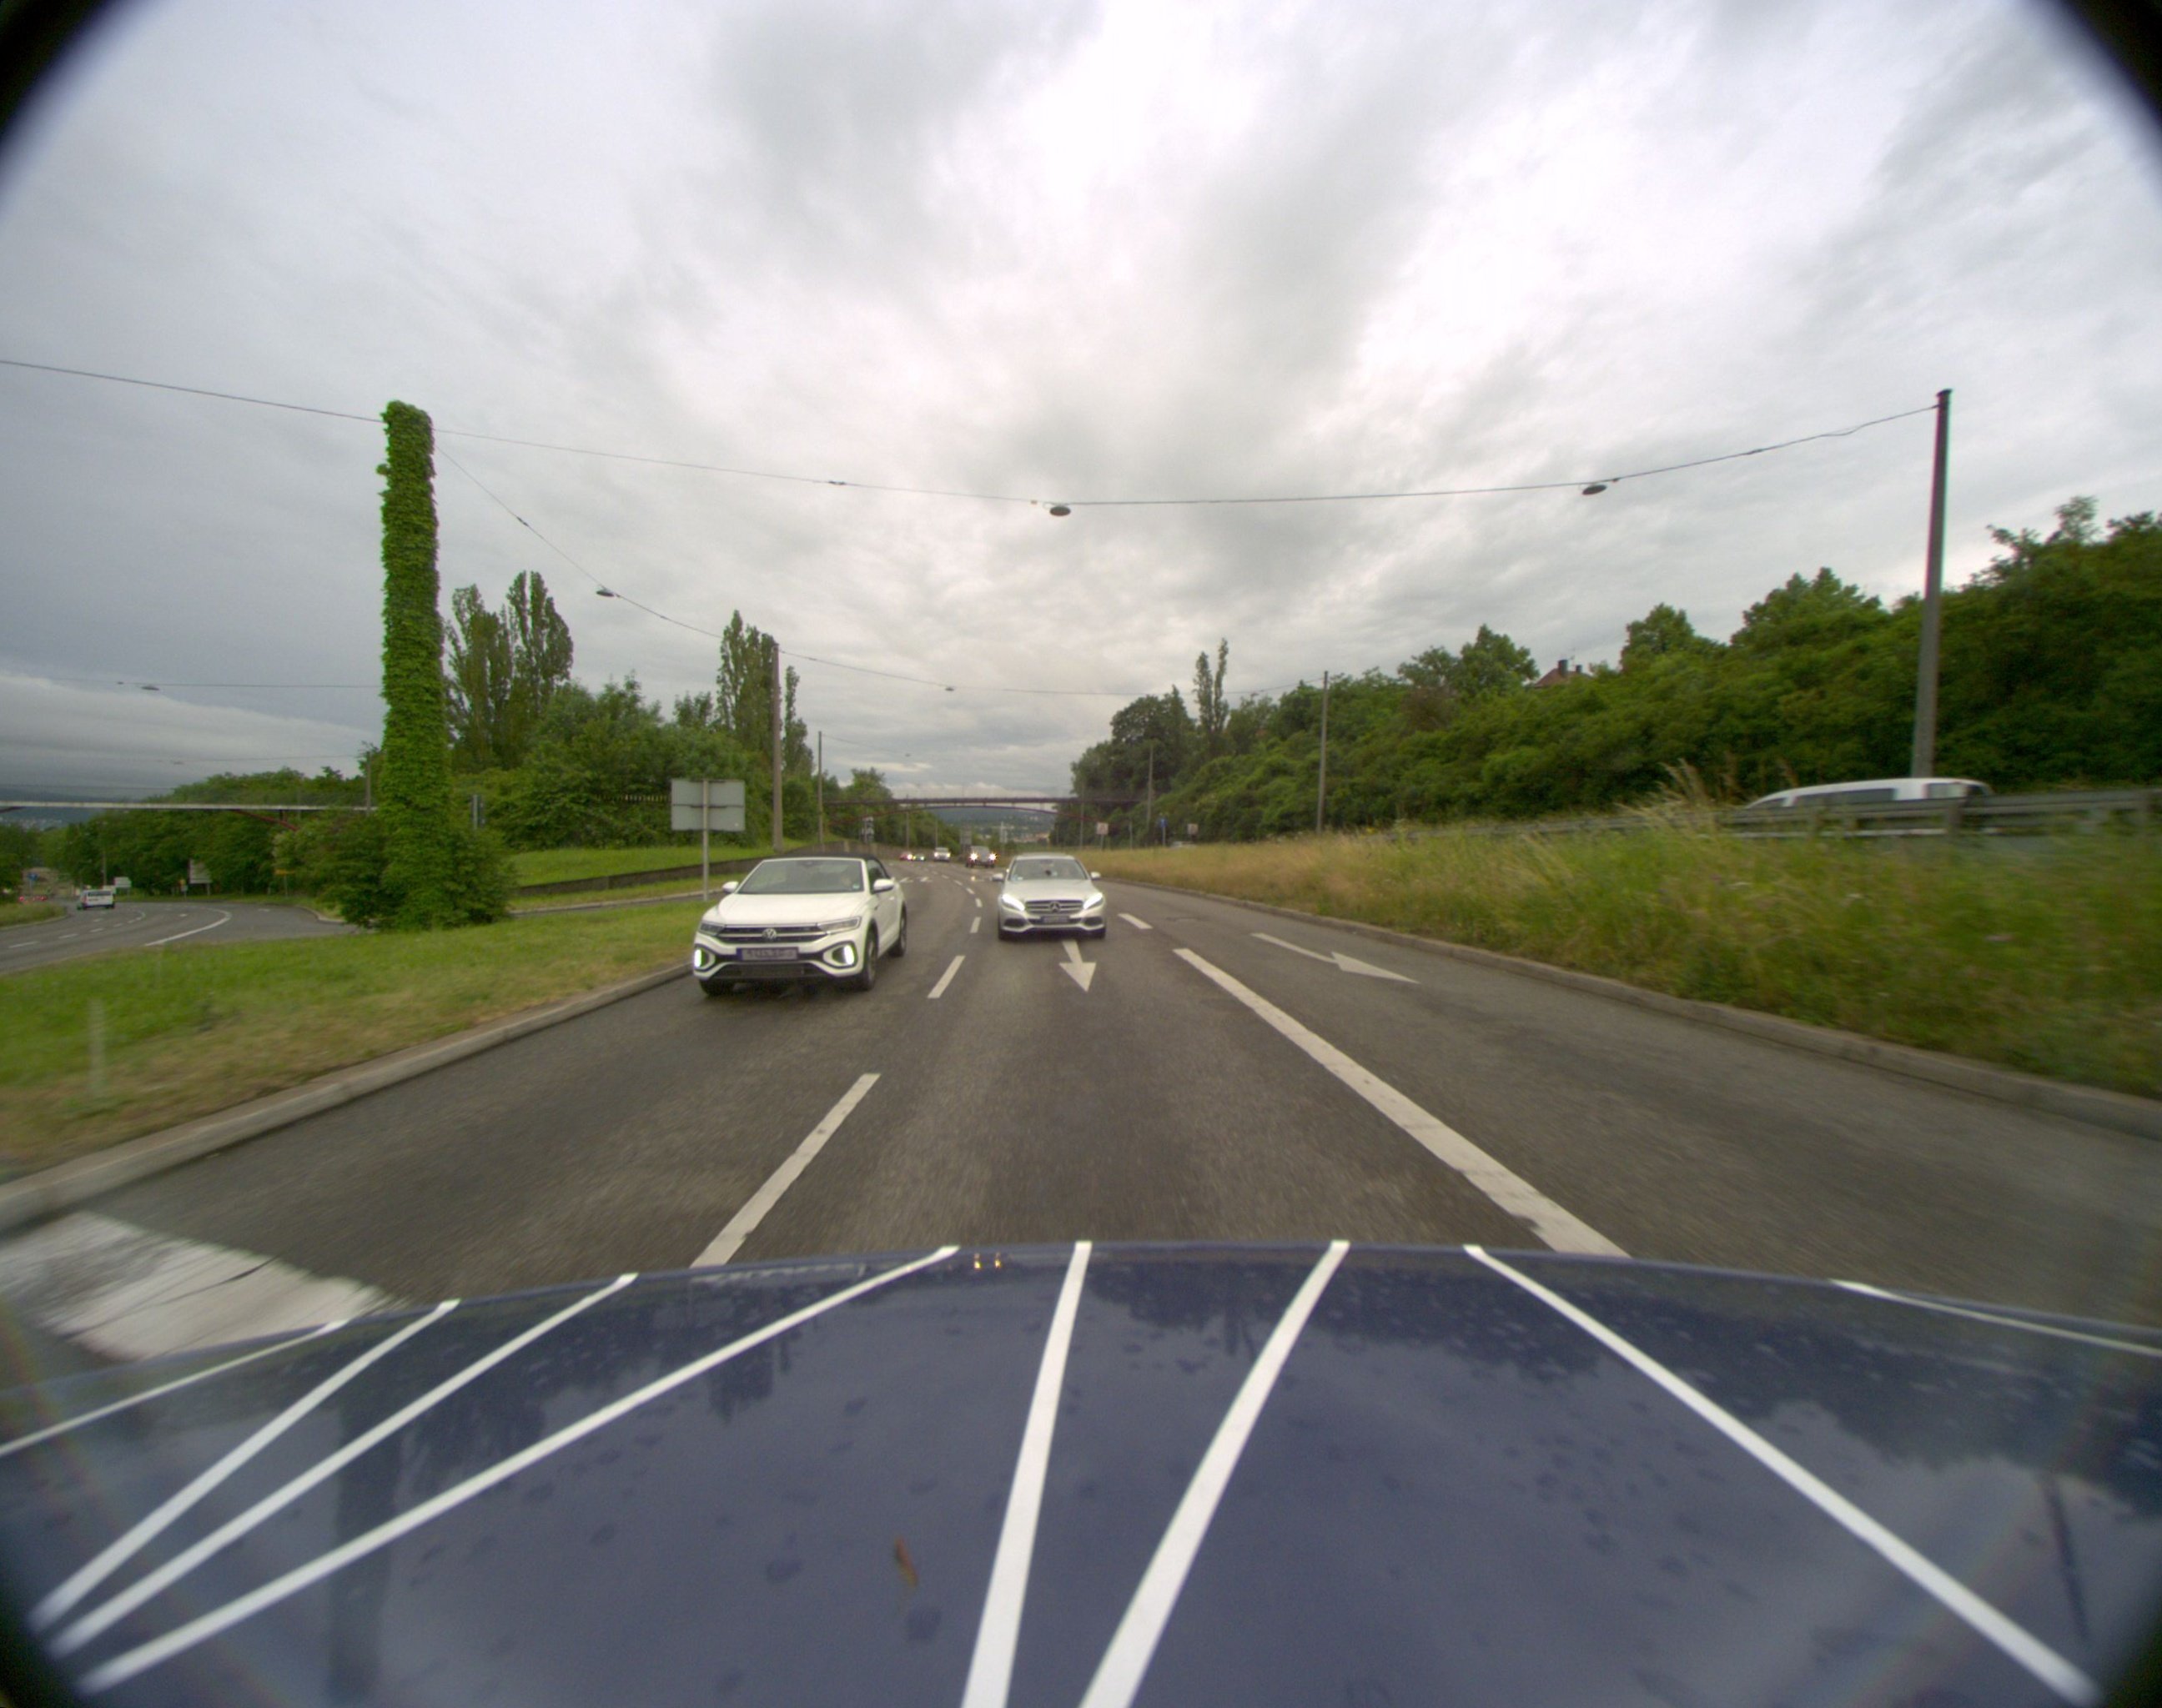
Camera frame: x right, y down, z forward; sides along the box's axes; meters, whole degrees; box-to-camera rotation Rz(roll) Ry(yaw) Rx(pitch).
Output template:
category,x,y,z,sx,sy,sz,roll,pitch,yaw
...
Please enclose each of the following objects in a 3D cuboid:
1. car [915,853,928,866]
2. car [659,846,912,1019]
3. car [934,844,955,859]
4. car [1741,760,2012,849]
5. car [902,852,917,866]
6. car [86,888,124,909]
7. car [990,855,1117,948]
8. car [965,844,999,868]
category,x,y,z,sx,sy,sz,roll,pitch,yaw
car,-27.071,0.948,129.165,2.001,2.002,3.995,-1,0,-14
car,-3.281,0.740,9.307,1.844,1.532,3.814,-1,2,-5
car,-16.586,-0.337,92.194,2.001,1.682,4.283,-1,0,-16
car,14.616,-0.829,14.215,1.561,1.424,3.228,-2,1,-5
car,-25.806,0.744,114.350,2.001,2.001,3.995,-1,-1,-15
car,-93.207,4.240,72.568,3.830,1.827,1.897,-2,1,34
car,-0.596,0.758,14.299,1.999,1.400,4.522,0,1,-4
car,-7.668,0.157,58.432,1.930,1.725,4.020,-1,-1,-17
